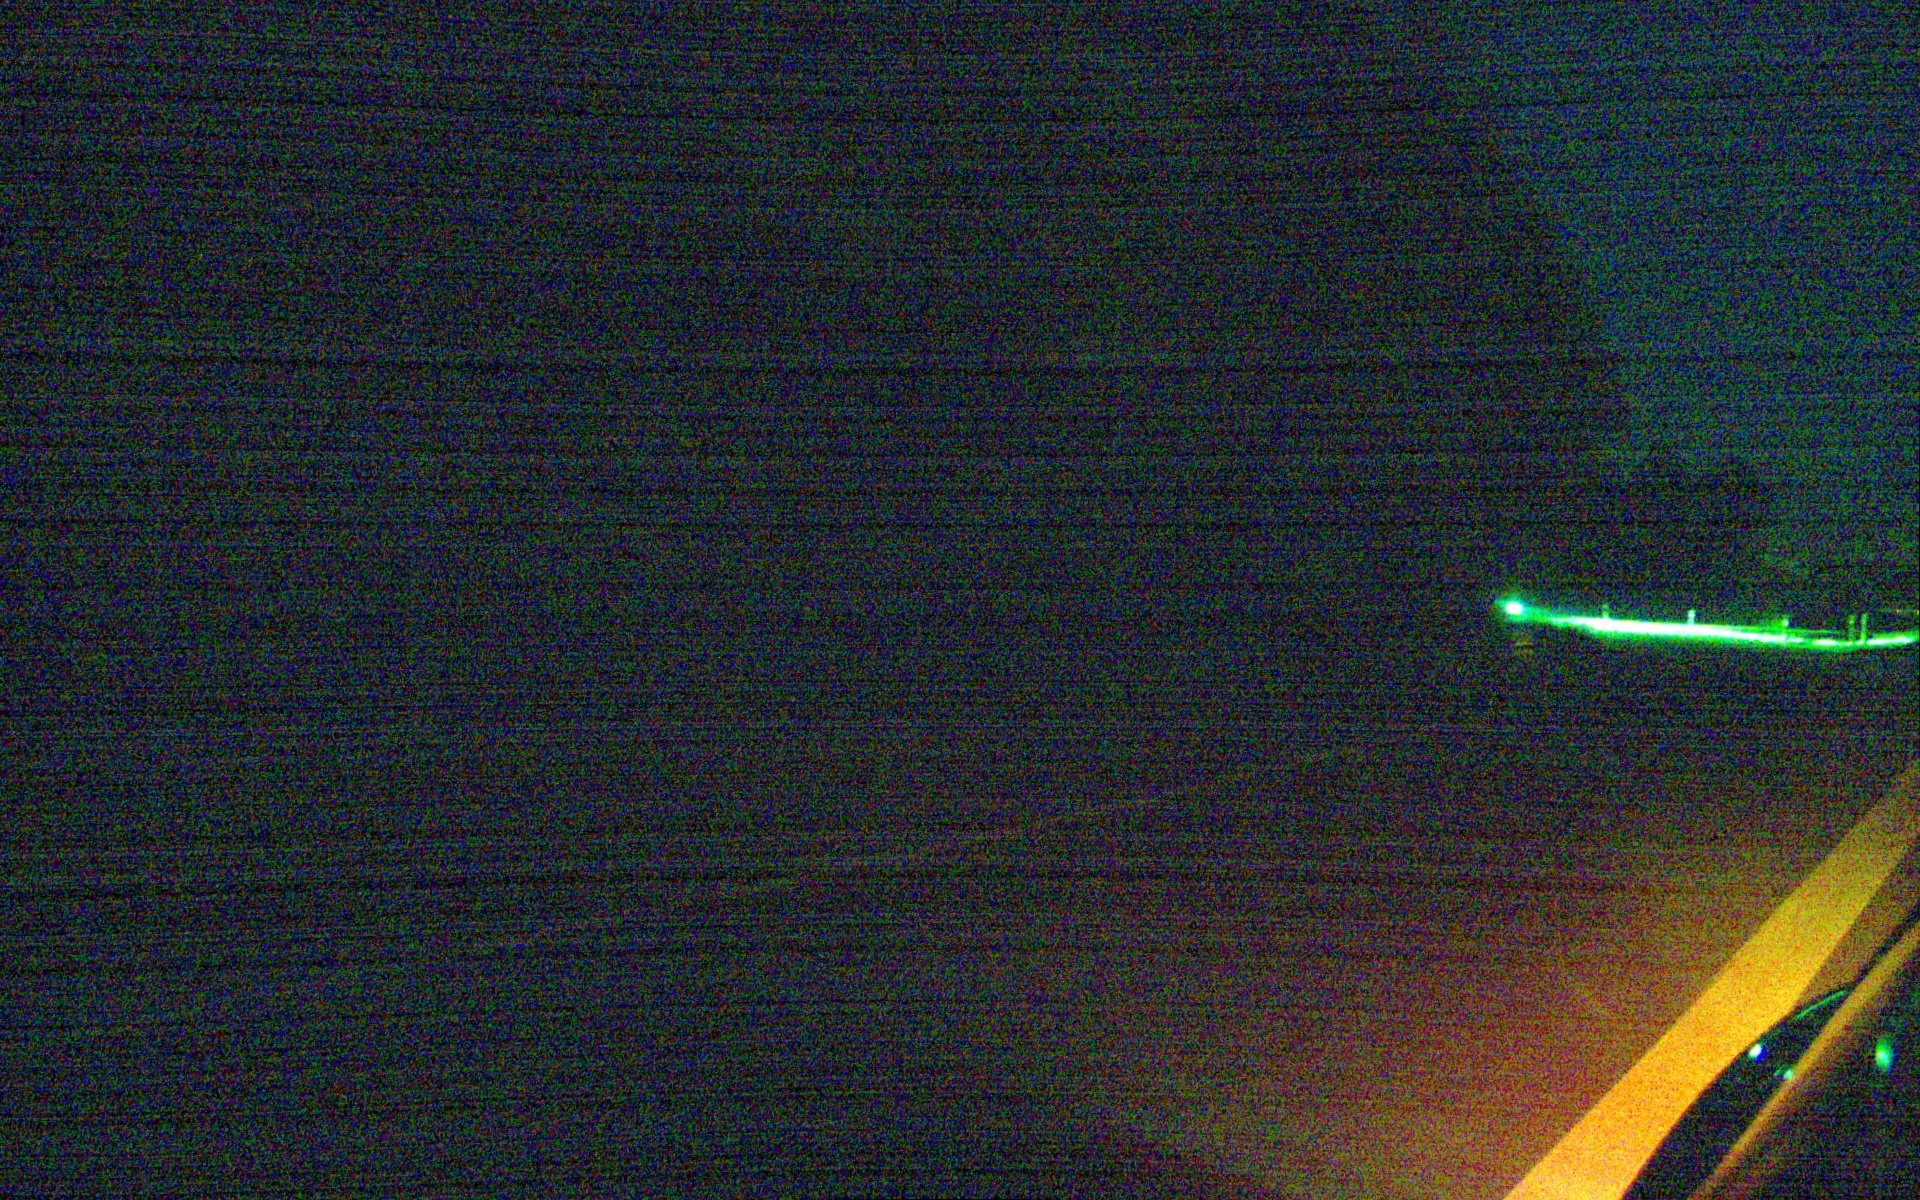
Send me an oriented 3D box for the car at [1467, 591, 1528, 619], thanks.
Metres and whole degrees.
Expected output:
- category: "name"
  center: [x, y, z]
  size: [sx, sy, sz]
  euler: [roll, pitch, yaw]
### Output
- category: "car"
  center: [38.870, 0.407, 73.275]
  size: [1.960, 1.877, 4.002]
  euler: [-2, -1, -4]
